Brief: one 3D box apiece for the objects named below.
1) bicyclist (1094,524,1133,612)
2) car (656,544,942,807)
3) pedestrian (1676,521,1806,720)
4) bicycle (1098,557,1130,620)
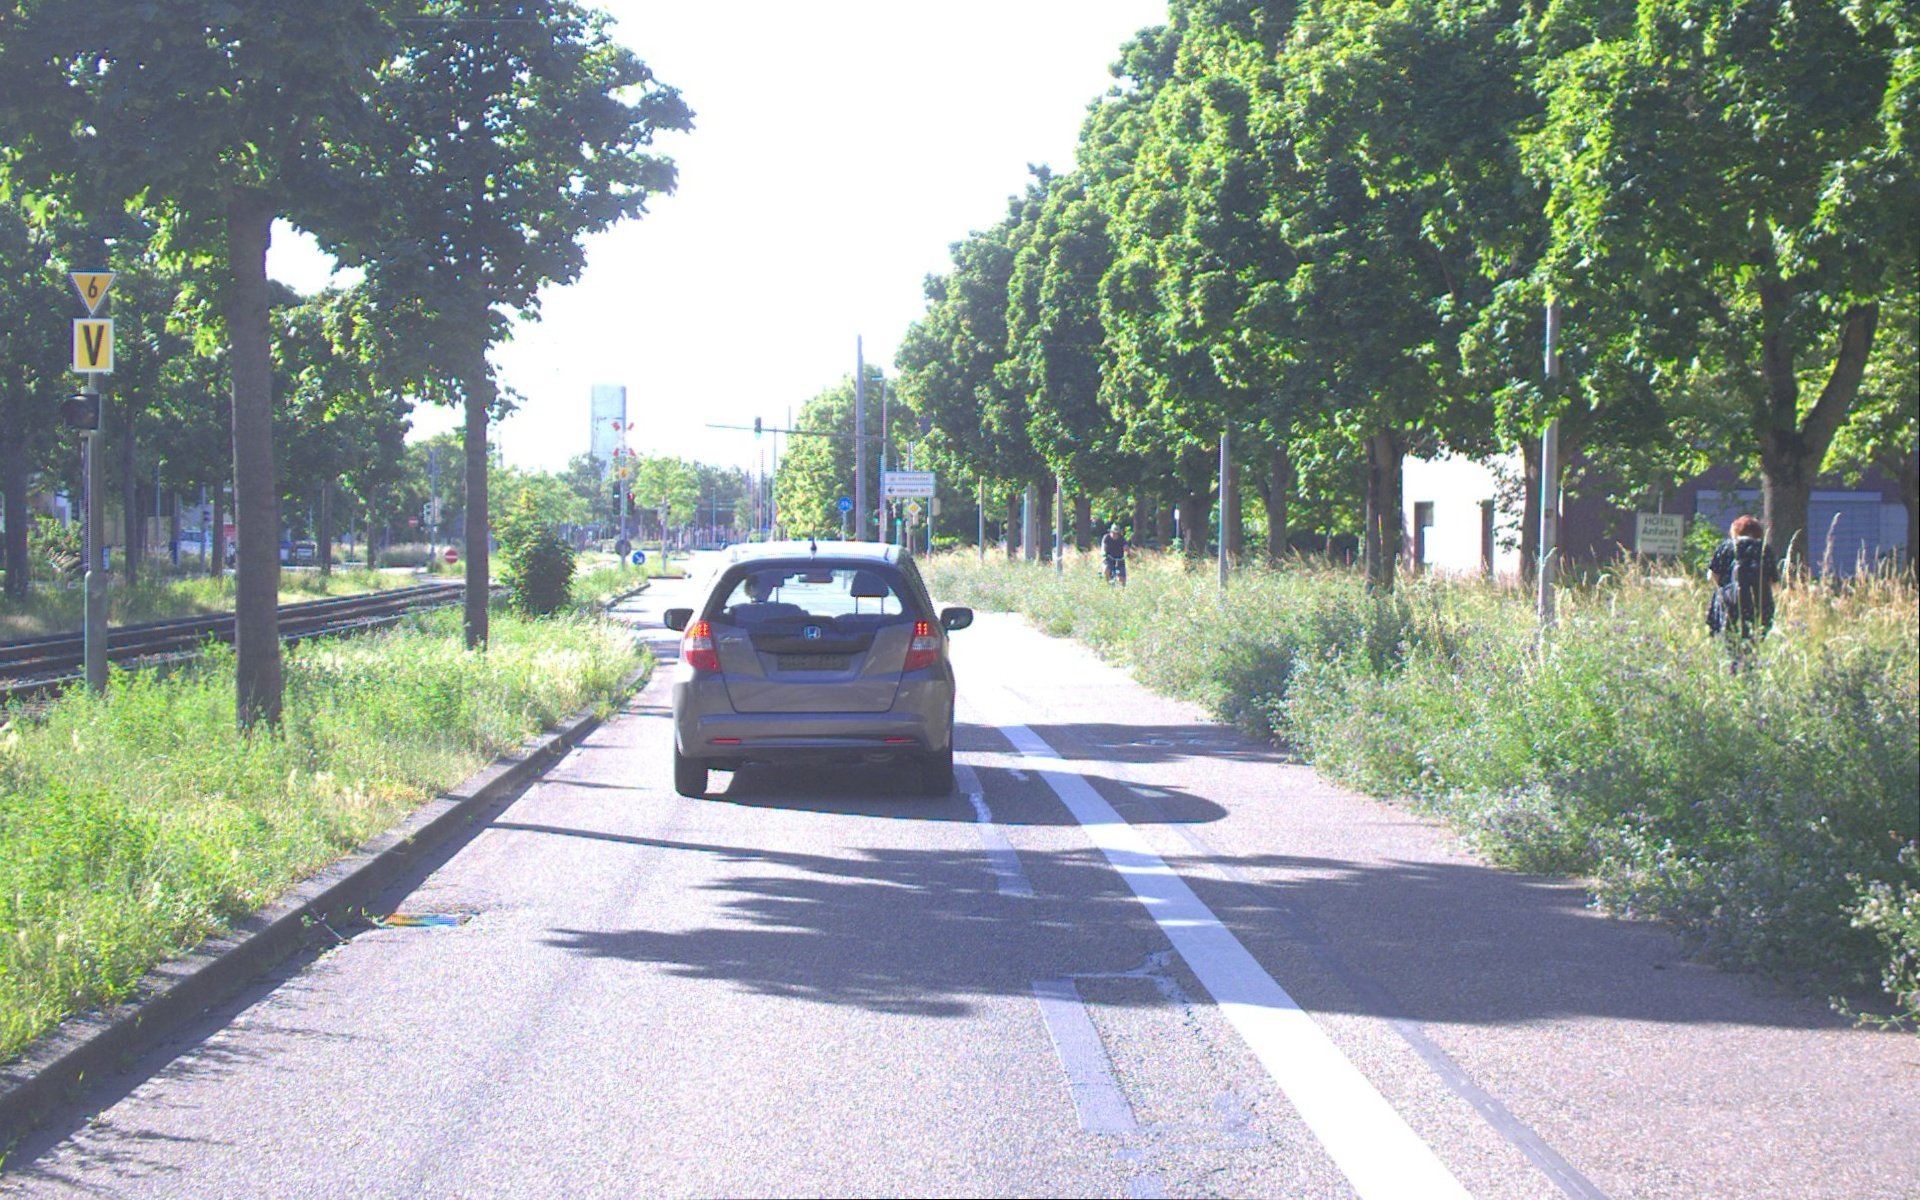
[{"bbox_3d":[3.001,-0.630,67.416,0.683,1.714,0.902,0,0,-2],"label":"bicyclist"},{"bbox_3d":[-0.968,0.409,21.522,1.624,1.494,3.457,1,1,-1],"label":"car"},{"bbox_3d":[6.248,0.157,27.534,0.824,1.563,0.762,1,1,-1],"label":"pedestrian"},{"bbox_3d":[3.012,-0.211,67.446,0.483,1.200,2.143,0,-1,-1],"label":"bicycle"}]
